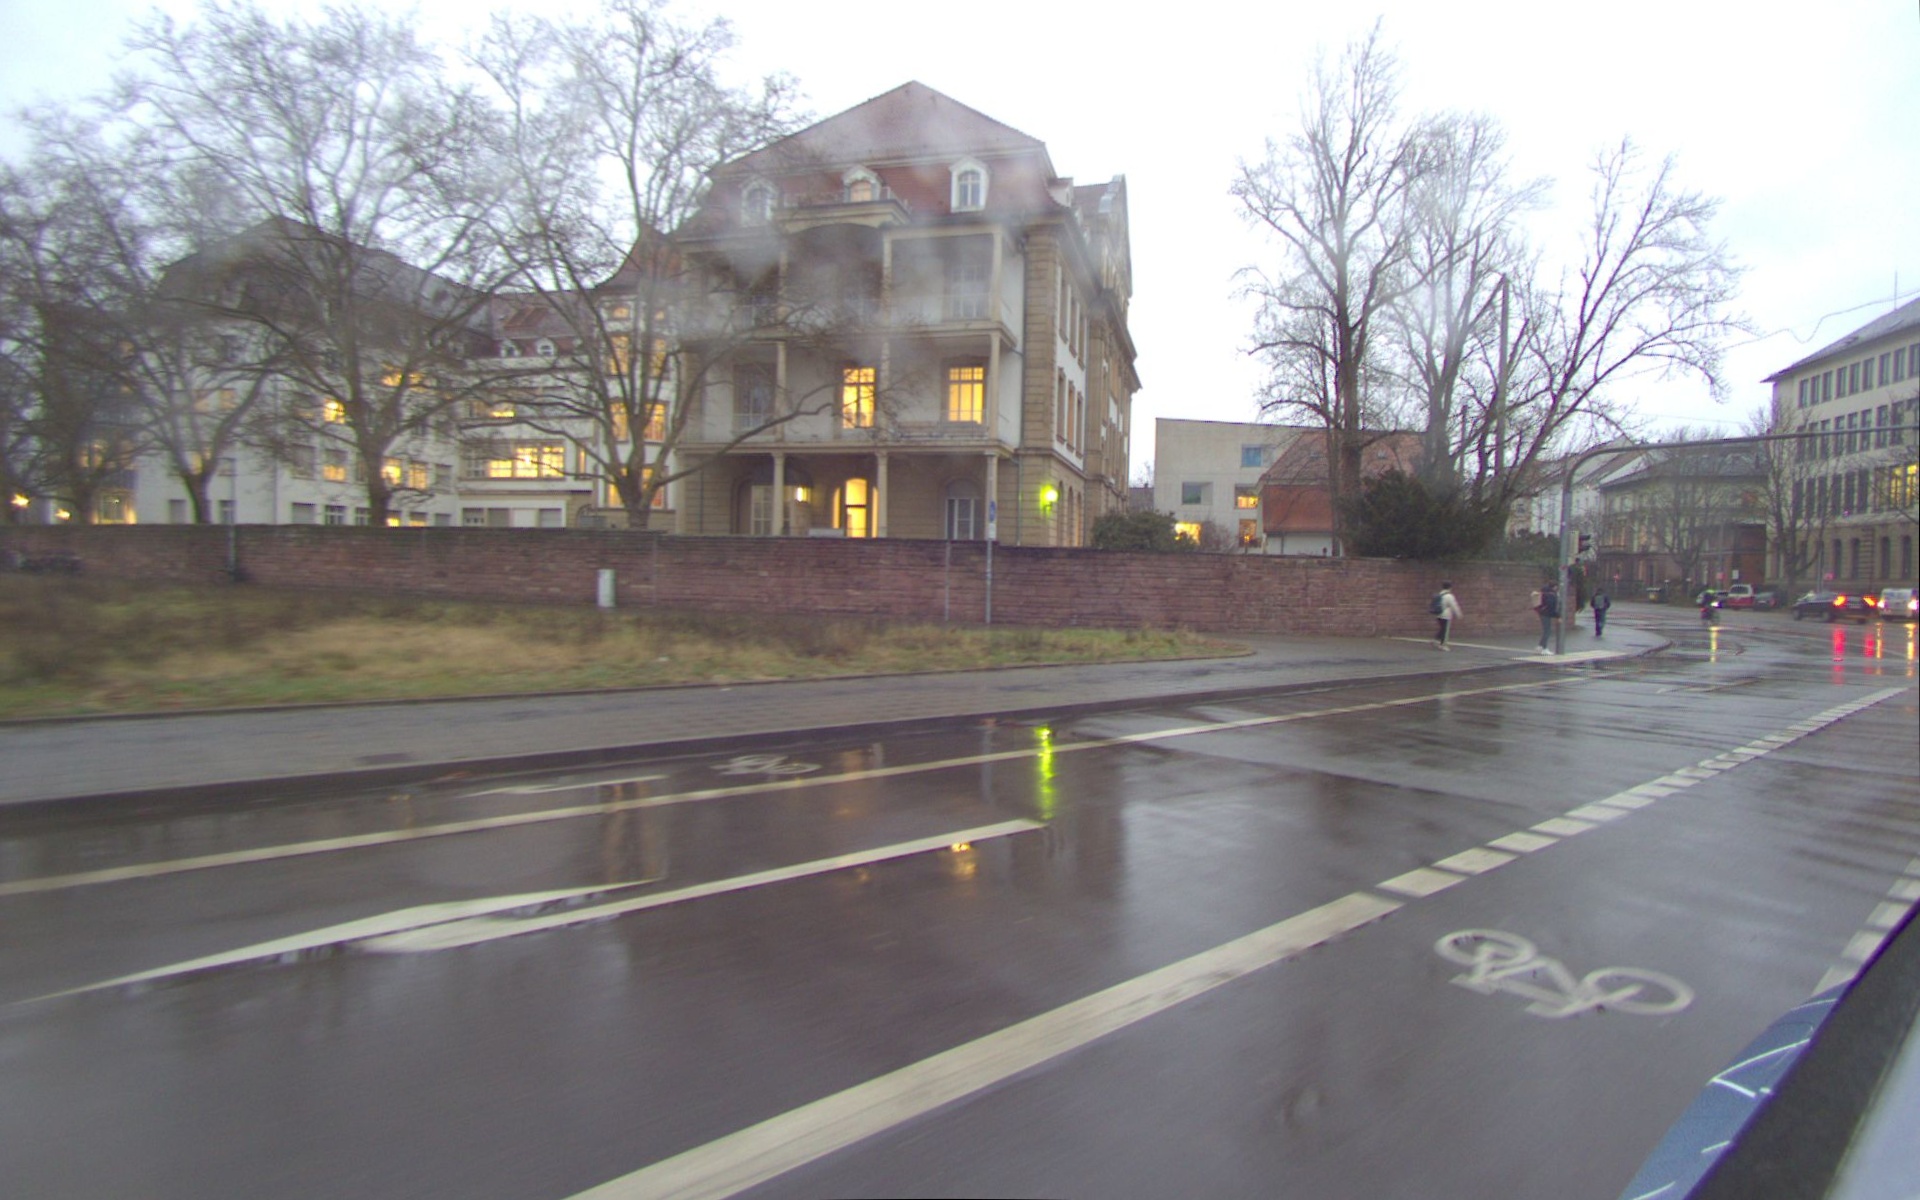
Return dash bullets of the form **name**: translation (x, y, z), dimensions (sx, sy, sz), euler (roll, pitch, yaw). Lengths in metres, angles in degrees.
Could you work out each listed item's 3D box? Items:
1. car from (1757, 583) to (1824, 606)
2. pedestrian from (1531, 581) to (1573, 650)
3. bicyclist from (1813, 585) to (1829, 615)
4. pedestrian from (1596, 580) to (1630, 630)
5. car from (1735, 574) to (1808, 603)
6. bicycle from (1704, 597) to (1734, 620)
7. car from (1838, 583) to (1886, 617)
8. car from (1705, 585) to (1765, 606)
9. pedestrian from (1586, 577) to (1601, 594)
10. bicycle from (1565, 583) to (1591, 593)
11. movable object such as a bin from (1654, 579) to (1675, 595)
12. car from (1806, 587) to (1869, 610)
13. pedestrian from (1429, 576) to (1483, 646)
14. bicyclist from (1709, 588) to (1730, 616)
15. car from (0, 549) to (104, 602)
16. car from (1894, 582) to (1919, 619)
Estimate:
- **car**: translation (61.324, -0.409, 74.724), dimensions (3.894, 1.558, 1.828), euler (-1, 2, -13)
- **pedestrian**: translation (15.107, 0.388, 25.809), dimensions (0.788, 1.696, 0.720), euler (4, 3, 36)
- **bicyclist**: translation (53.282, -0.015, 62.611), dimensions (0.578, 1.789, 0.612), euler (-2, 1, -31)
- **pedestrian**: translation (22.789, 0.164, 35.314), dimensions (0.804, 1.705, 1.140), euler (4, 2, 39)
- **car**: translation (62.254, -0.893, 77.678), dimensions (4.526, 2.079, 1.970), euler (-1, 2, -12)
- **bicycle**: translation (37.027, 0.391, 49.379), dimensions (0.717, 1.104, 2.265), euler (0, 0, 25)
- **car**: translation (48.179, -0.019, 54.030), dimensions (1.754, 1.682, 4.460), euler (4, 3, 43)
- **car**: translation (63.847, -0.415, 83.390), dimensions (4.097, 1.610, 1.779), euler (-2, 2, -14)
- **pedestrian**: translation (67.427, -1.537, 107.760), dimensions (0.905, 1.724, 0.949), euler (-1, 1, -8)
- **bicycle**: translation (61.958, -1.161, 101.480), dimensions (2.095, 0.956, 0.939), euler (0, 2, 19)
- **movable object such as a bin**: translation (66.000, -1.194, 94.789), dimensions (0.966, 1.482, 1.347), euler (-2, 2, -23)
- **car**: translation (60.749, -0.122, 70.050), dimensions (3.747, 1.475, 1.641), euler (-2, 2, -19)
- **pedestrian**: translation (12.477, 0.263, 25.491), dimensions (0.947, 1.696, 0.777), euler (2, 2, 11)
- **bicyclist**: translation (37.011, 0.089, 49.323), dimensions (0.710, 1.359, 0.713), euler (0, 1, 26)
- **car**: translation (-18.724, -0.514, 20.349), dimensions (1.275, 0.989, 2.688), euler (2, 1, -16)
- **car**: translation (57.254, -0.026, 59.336), dimensions (4.704, 2.059, 1.916), euler (-2, 2, -23)
